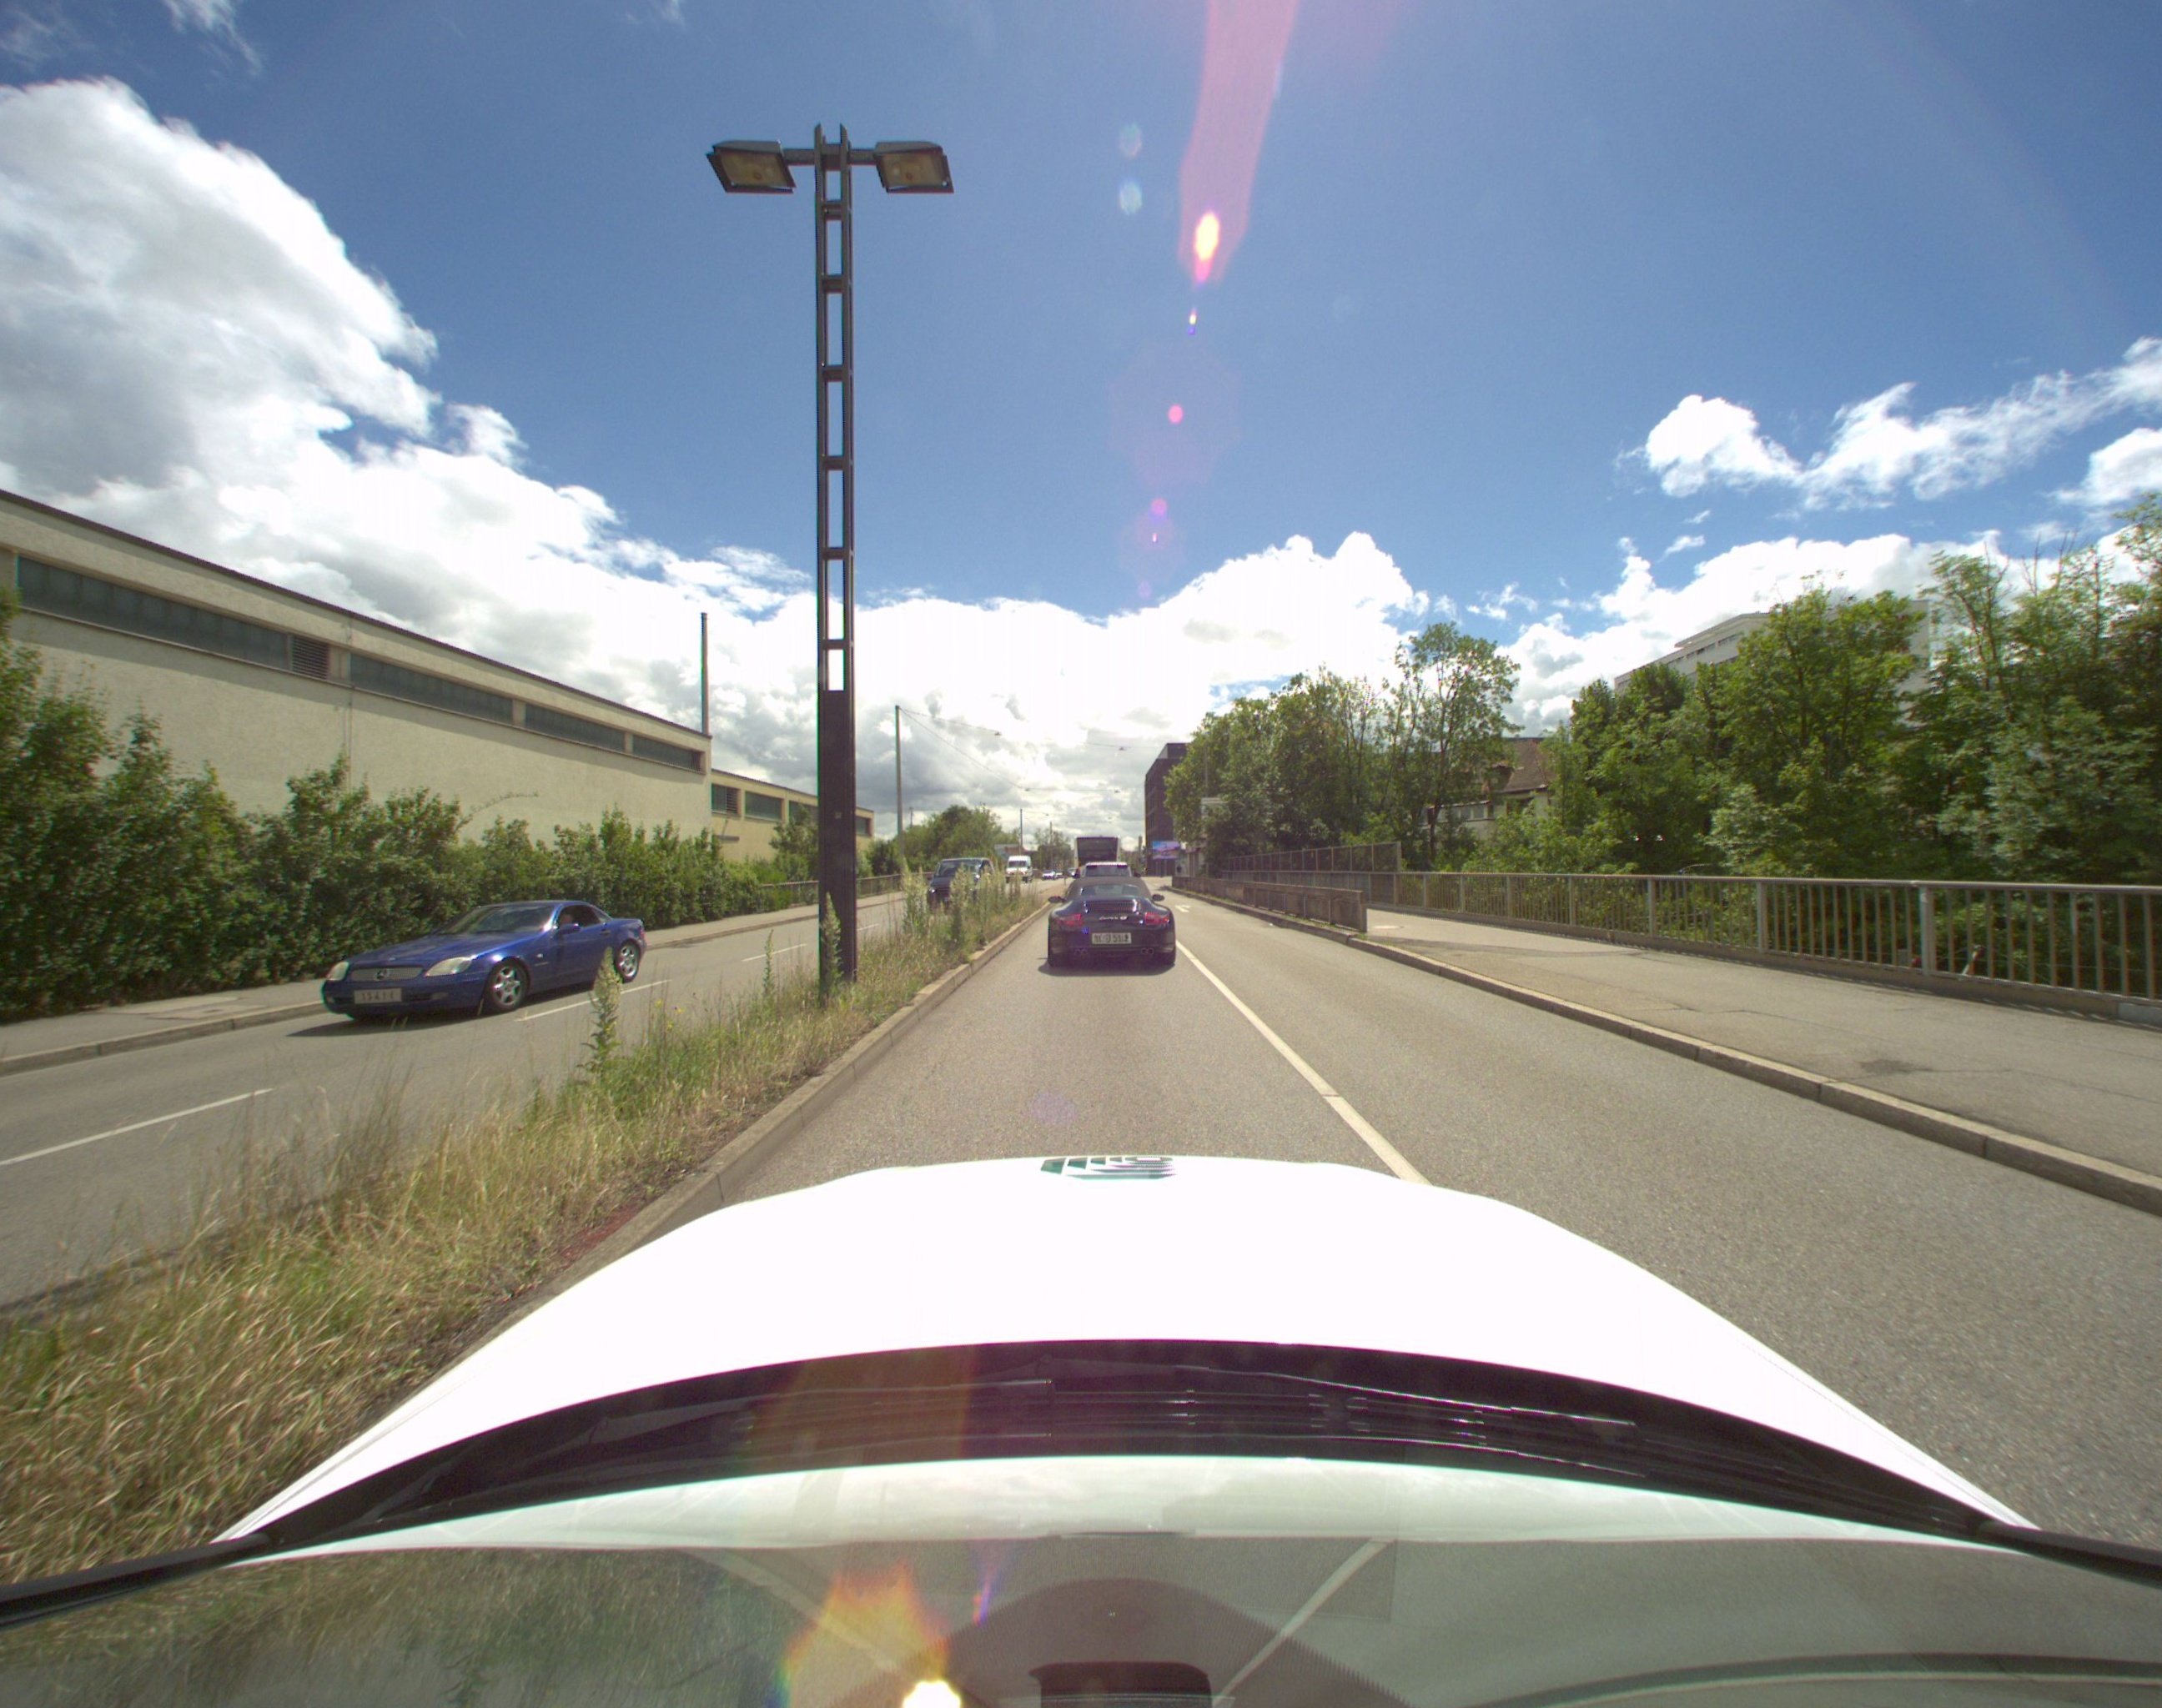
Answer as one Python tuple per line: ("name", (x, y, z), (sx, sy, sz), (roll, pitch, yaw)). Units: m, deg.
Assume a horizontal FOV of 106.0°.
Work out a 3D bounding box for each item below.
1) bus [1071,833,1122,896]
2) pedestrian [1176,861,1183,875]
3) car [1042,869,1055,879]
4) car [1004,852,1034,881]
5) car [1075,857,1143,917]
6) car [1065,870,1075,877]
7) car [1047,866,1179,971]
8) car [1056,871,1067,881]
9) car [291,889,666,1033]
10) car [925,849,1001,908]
("bus", (1.081, 0.383, 49.387), (2.678, 3.255, 12.066), (1, 2, 2))
("pedestrian", (11.760, 1.692, 97.340), (0.673, 1.696, 0.602), (-1, -2, 26))
("car", (-4.708, 2.892, 117.294), (1.631, 1.363, 4.195), (-1, -1, 1))
("car", (-5.838, 1.195, 77.469), (2.059, 2.571, 6.822), (-2, -1, 1))
("car", (0.832, 0.914, 24.699), (1.873, 1.594, 4.231), (0, 1, 2))
("car", (-2.130, 3.768, 158.639), (1.622, 1.431, 4.000), (-1, -1, 1))
("car", (0.351, 0.896, 12.977), (1.716, 1.275, 4.083), (0, 1, -3))
("car", (-3.287, 3.717, 138.467), (1.804, 1.560, 4.207), (0, -1, 1))
("car", (-7.377, 1.215, 10.582), (1.748, 1.276, 4.001), (-3, -1, 1))
("car", (-4.103, 0.800, 28.999), (1.987, 1.888, 4.867), (-1, 0, -1))
